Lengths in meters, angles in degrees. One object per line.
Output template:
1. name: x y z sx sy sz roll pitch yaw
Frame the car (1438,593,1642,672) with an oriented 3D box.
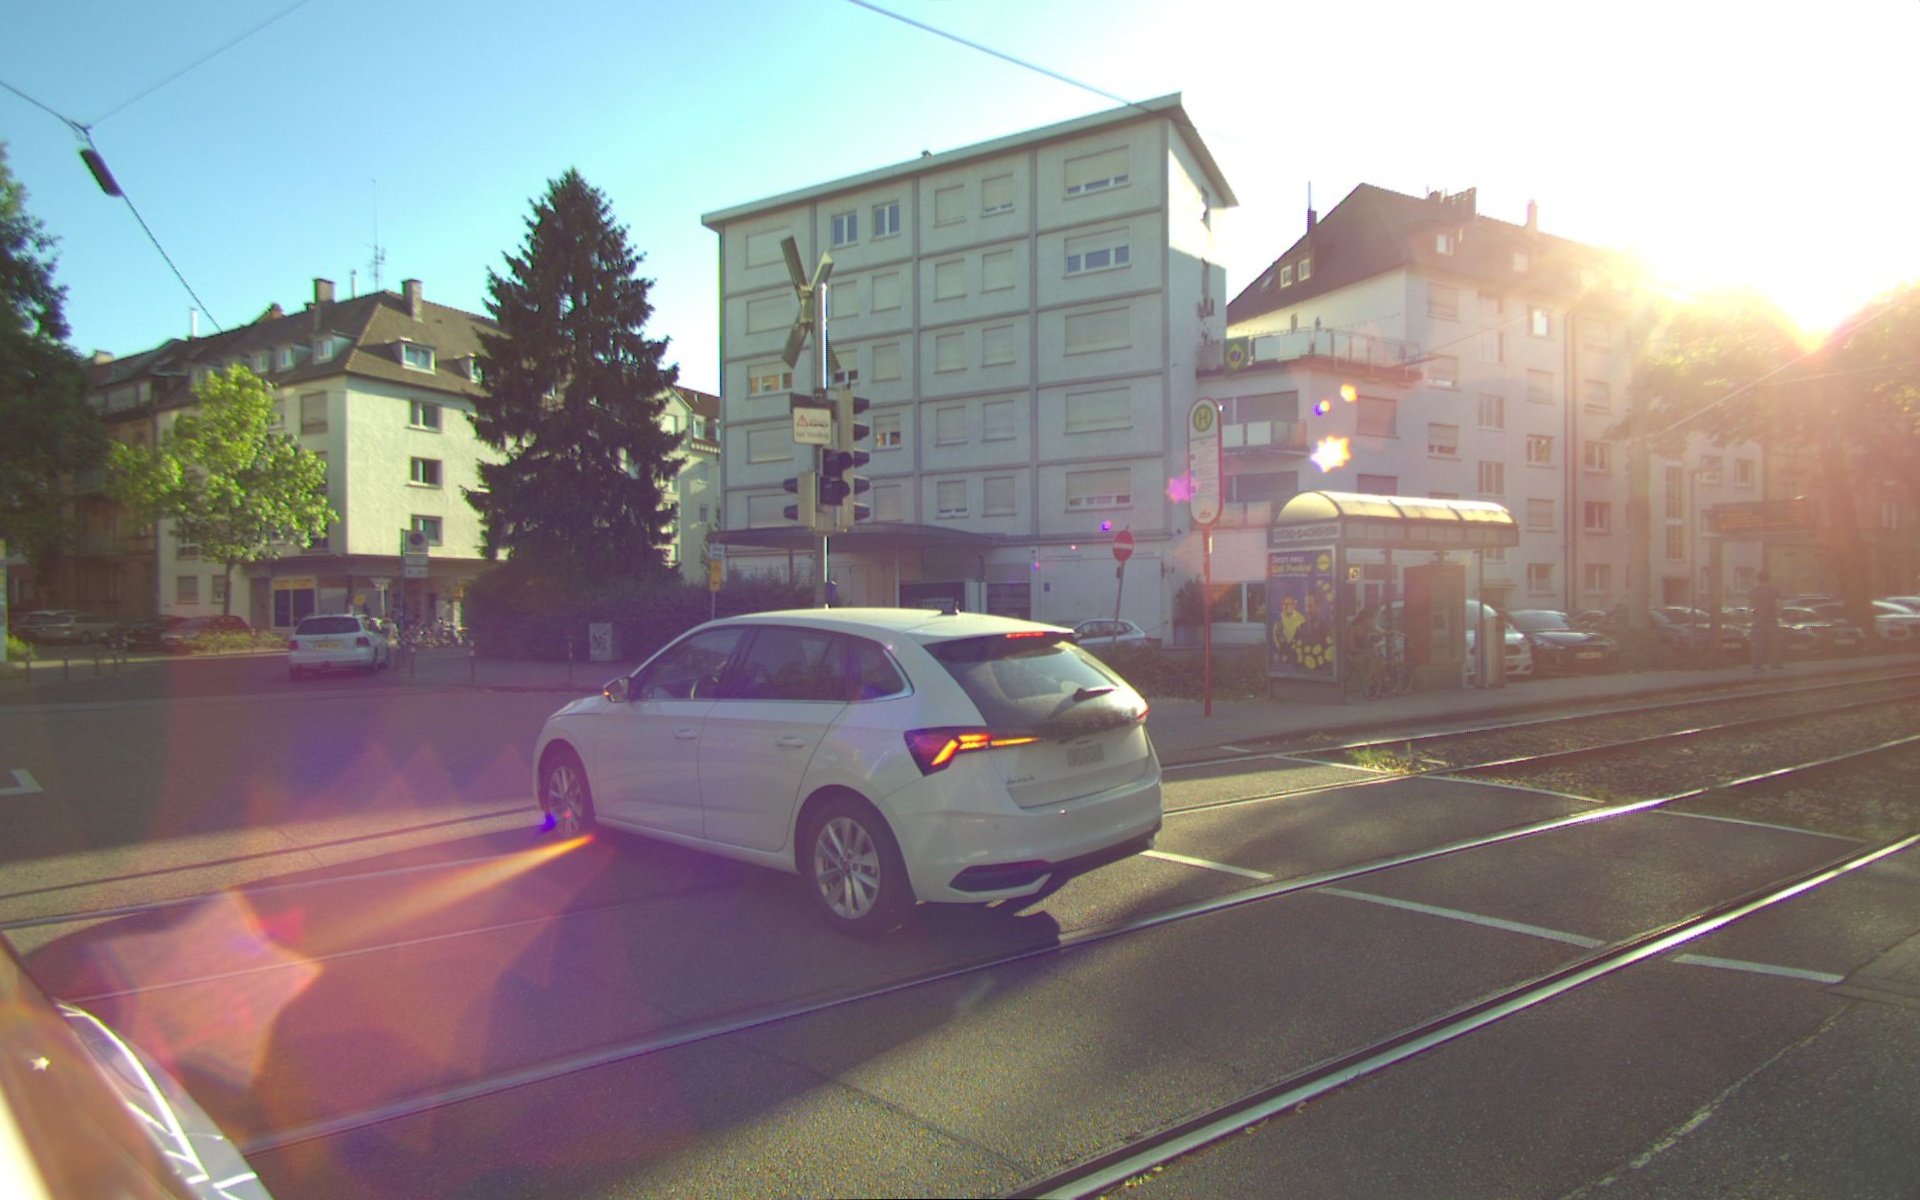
1. car: 12.158 0.773 21.594 1.676 1.448 4.207 -2 -4 -3

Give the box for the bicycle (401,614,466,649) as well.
1. bicycle: -22.674 1.338 43.540 3.368 1.456 0.872 0 0 32

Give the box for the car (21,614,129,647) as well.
1. car: -43.329 1.452 49.669 1.847 1.516 4.000 -1 -1 -1

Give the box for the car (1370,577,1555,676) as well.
1. car: 9.627 0.607 19.802 1.587 1.665 4.236 -3 -4 3

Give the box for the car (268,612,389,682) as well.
1. car: -15.107 1.053 24.423 1.890 1.461 4.310 -2 0 -24

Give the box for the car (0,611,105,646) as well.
1. car: -46.023 1.403 51.383 1.847 1.648 4.000 -1 -1 -1

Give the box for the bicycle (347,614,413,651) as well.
1. bicycle: -23.736 1.298 41.372 3.368 1.456 0.872 0 0 32

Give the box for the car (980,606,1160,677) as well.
1. car: 2.590 0.930 23.587 3.932 1.457 1.721 -1 -2 -32

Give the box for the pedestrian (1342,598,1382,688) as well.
1. pedestrian: 6.038 0.636 15.196 0.444 1.311 0.339 0 -1 -30

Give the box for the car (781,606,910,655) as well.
1. car: -3.895 1.019 34.172 3.987 1.544 1.978 -1 -1 33

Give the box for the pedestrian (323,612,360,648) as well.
1. pedestrian: -29.107 1.410 47.638 0.960 1.679 1.203 -1 -1 29

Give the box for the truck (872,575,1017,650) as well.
1. truck: -0.581 0.480 36.716 4.950 2.554 1.980 -1 -1 29

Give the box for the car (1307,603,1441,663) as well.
1. car: 12.769 0.991 31.180 3.931 1.686 1.721 -1 -2 -30

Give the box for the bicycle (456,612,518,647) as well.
1. bicycle: -21.600 1.319 46.221 3.368 1.456 0.872 1 0 32

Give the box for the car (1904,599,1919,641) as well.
1. car: 34.781 0.547 34.128 1.832 1.484 4.239 -2 -4 1

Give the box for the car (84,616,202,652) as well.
1. car: -37.911 1.552 47.076 1.855 1.580 3.982 -1 -1 14

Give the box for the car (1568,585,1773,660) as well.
1. car: 16.638 0.610 24.001 1.584 1.519 4.243 -2 -4 -3

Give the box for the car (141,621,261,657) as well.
1. car: -33.077 1.678 44.237 1.854 1.410 3.985 -1 -1 11

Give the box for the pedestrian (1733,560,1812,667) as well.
1. pedestrian: 15.063 0.238 18.770 0.823 1.925 0.853 0 -1 -29

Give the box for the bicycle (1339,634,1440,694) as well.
1. bicycle: 6.318 0.922 14.878 1.615 0.789 0.452 -1 -1 -29

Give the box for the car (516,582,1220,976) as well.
1. car: -0.781 0.708 5.774 4.061 1.468 1.684 -2 -1 42

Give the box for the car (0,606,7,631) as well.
1. car: -56.077 1.049 56.581 1.847 1.410 4.000 -1 -1 -1

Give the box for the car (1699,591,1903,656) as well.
1. car: 22.107 0.691 26.852 1.584 1.470 4.243 -2 -4 -3

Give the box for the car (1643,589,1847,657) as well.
1. car: 19.694 0.656 25.678 1.584 1.470 4.243 -2 -4 -3

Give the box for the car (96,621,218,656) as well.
1. car: -35.458 1.672 44.831 1.854 1.410 3.985 -1 -1 11

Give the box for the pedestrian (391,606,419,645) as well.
1. pedestrian: -27.009 1.249 49.267 0.848 1.889 0.882 -1 -1 29

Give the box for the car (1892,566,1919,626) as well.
1. car: 48.946 -0.246 49.799 5.386 2.909 2.569 -1 -2 -25

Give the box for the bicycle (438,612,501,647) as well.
1. bicycle: -22.069 1.315 45.504 3.368 1.456 0.872 1 0 32

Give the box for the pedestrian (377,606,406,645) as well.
1. pedestrian: -27.870 1.237 49.617 0.848 1.889 0.882 -1 -1 29

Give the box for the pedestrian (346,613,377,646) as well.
1. pedestrian: -28.862 1.427 48.809 0.887 1.581 0.954 -1 -1 30

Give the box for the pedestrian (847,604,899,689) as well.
1. pedestrian: -1.863 0.967 21.610 0.856 1.749 0.833 0 0 -28

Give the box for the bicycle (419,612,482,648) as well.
1. bicycle: -22.489 1.320 44.649 3.368 1.456 0.872 1 0 32

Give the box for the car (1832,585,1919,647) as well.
1. car: 29.186 0.485 30.863 1.837 1.762 4.229 -3 -4 9

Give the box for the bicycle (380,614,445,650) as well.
1. bicycle: -23.016 1.320 42.490 3.368 1.456 0.872 0 0 32

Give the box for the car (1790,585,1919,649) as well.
1. car: 26.913 0.541 29.768 1.837 1.664 4.229 -3 -4 9

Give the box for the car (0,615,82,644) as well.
1. car: -48.559 1.520 52.963 1.847 1.410 4.000 -1 -1 -1
